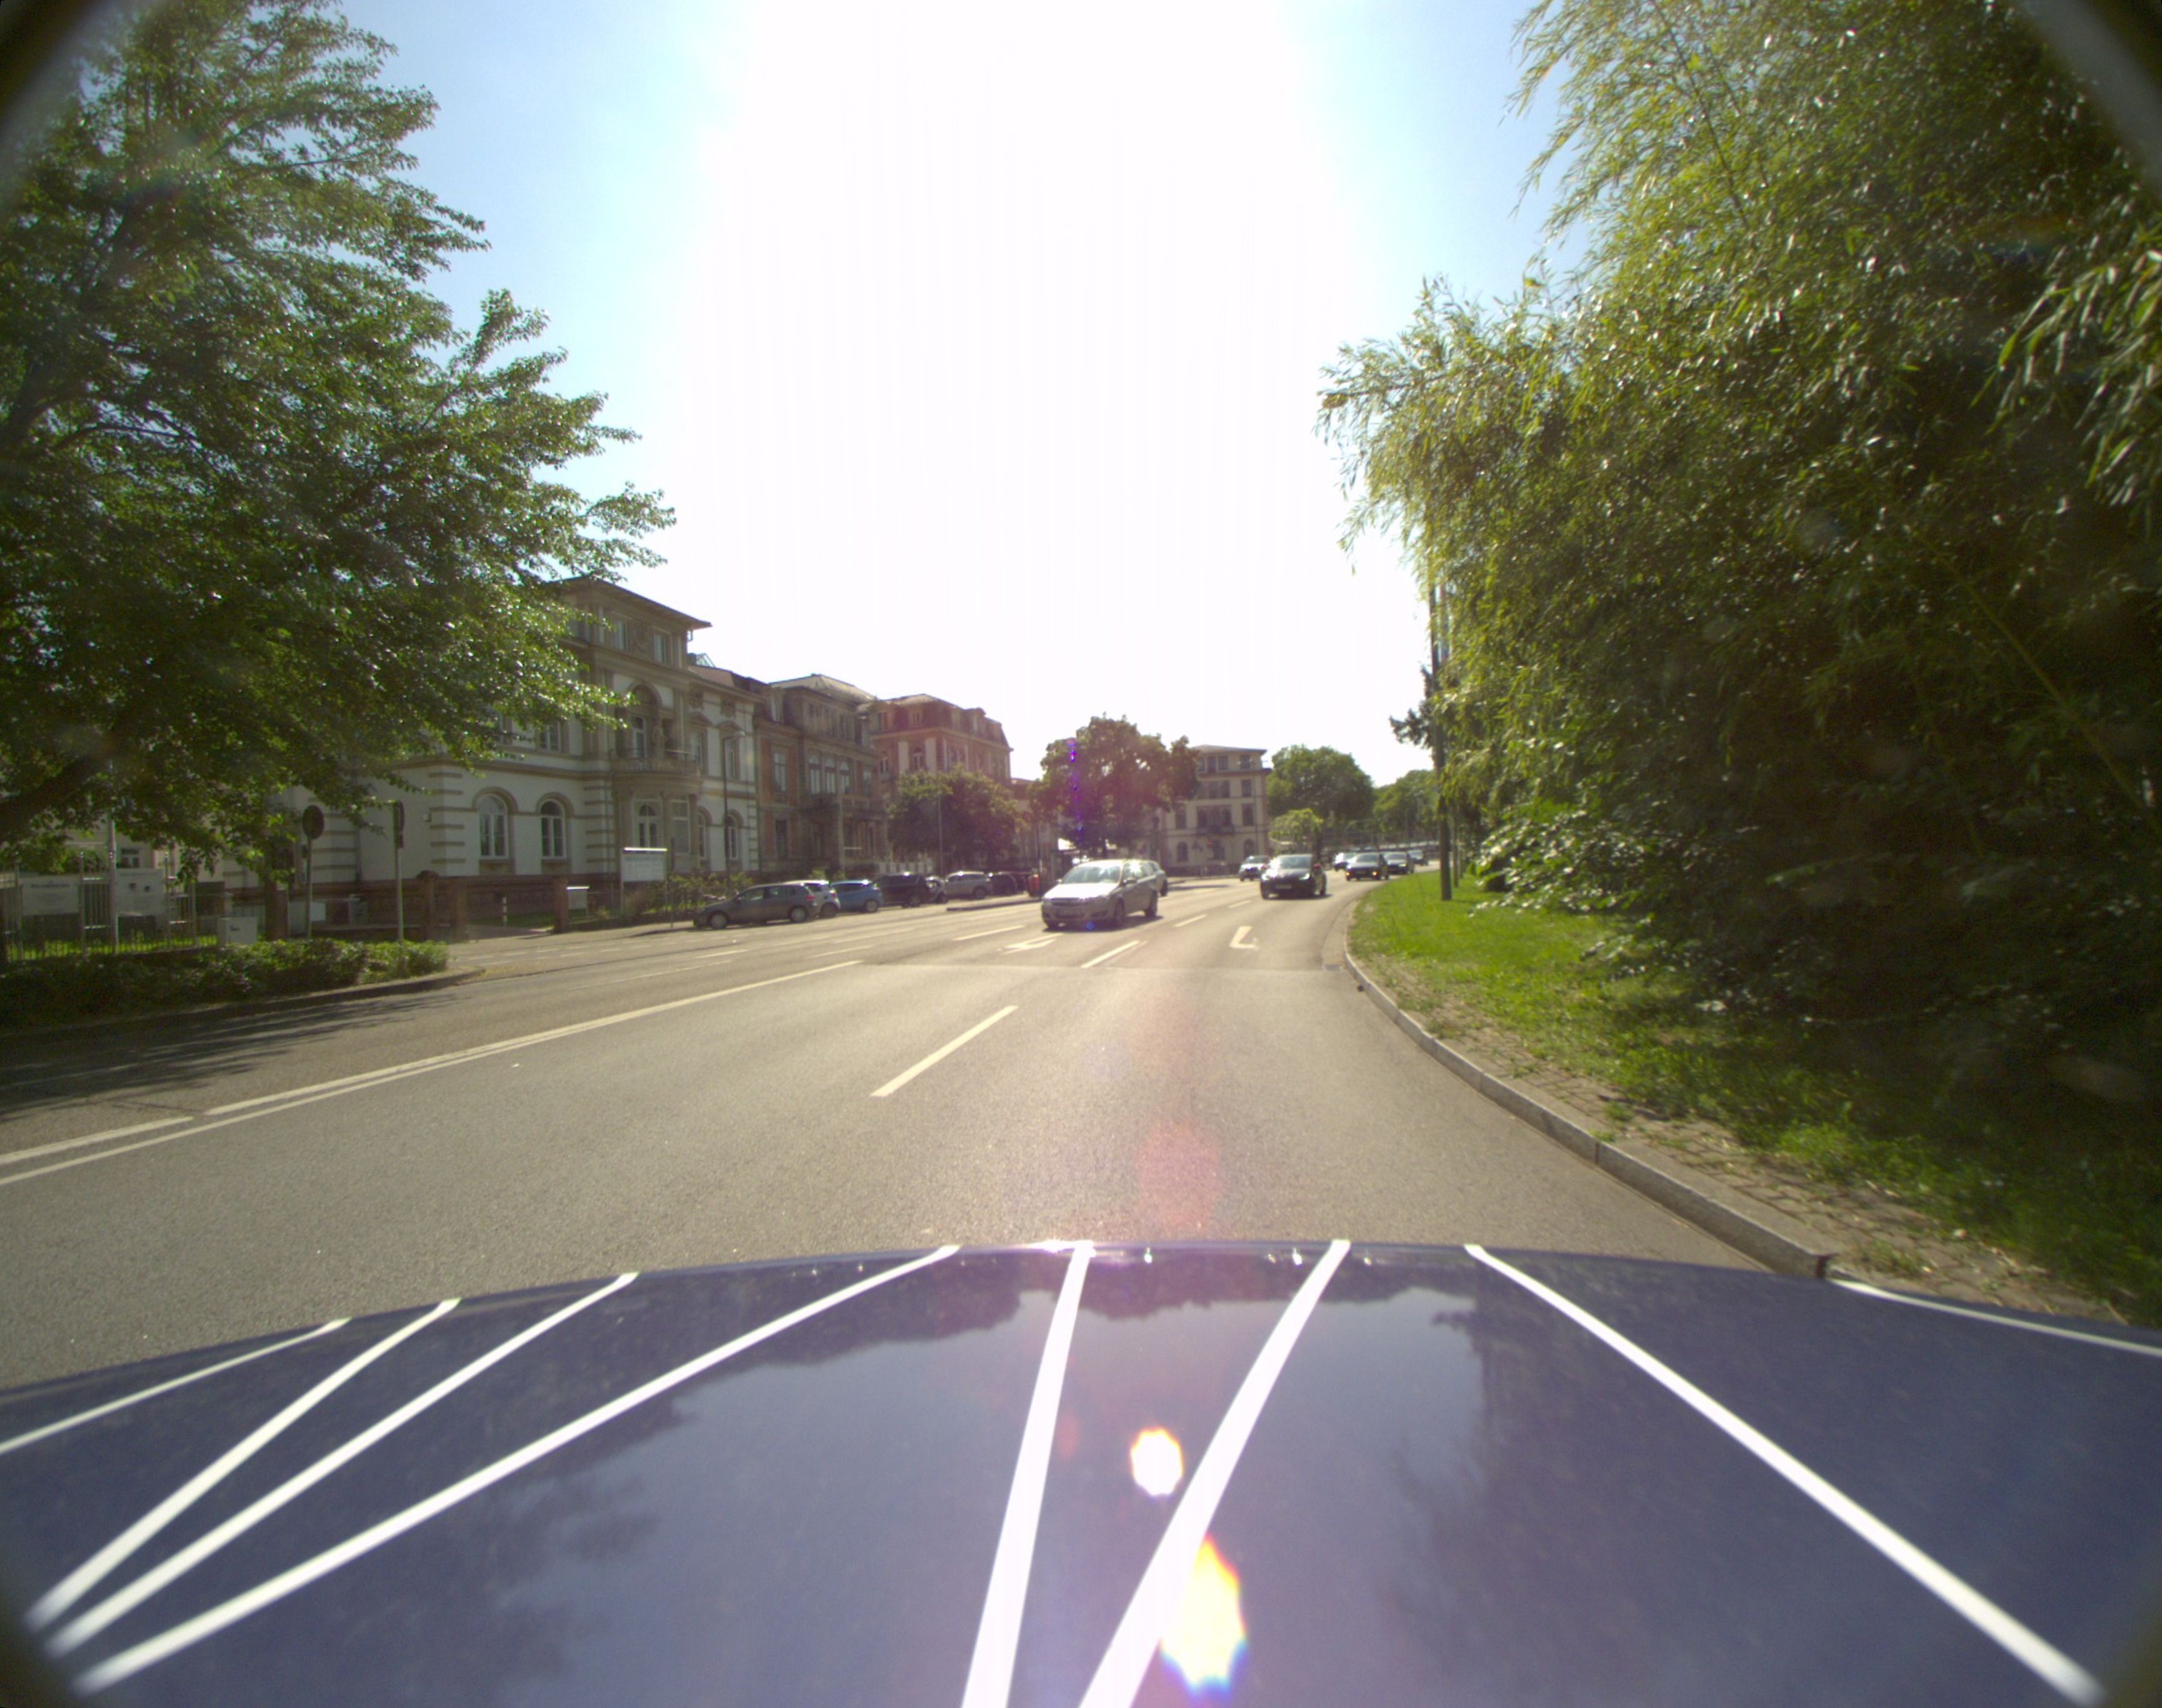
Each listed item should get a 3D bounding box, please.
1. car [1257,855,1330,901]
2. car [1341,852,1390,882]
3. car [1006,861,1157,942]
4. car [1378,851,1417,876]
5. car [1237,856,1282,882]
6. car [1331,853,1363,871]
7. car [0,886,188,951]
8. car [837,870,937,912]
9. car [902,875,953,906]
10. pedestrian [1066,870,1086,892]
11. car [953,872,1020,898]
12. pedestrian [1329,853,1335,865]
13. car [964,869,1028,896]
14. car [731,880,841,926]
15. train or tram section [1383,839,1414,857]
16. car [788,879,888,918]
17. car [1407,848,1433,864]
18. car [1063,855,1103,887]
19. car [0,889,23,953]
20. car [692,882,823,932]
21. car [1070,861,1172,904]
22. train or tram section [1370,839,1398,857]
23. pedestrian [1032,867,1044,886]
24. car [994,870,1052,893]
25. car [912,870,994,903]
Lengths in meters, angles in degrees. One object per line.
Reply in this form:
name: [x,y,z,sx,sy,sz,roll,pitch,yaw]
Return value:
car: [7.503,0.804,26.595,1.788,1.443,4.288,-2,0,24]
car: [15.248,0.644,40.627,1.787,1.484,4.096,-2,0,30]
car: [0.186,0.956,17.017,1.716,1.491,4.497,-2,0,23]
car: [20.525,0.596,49.232,1.787,1.461,4.096,-2,0,30]
car: [11.222,0.885,47.565,1.788,1.503,4.288,-2,0,27]
car: [23.130,0.660,66.096,1.787,1.451,4.096,-2,0,31]
car: [-23.678,1.512,18.010,4.045,1.328,1.994,-2,-1,21]
car: [-9.335,1.759,36.649,4.280,1.686,1.710,-2,-1,-30]
car: [-8.154,1.911,40.350,2.292,1.473,1.199,-2,-1,-33]
pedestrian: [-0.285,1.483,41.931,1.020,1.190,0.792,-3,-1,3]
car: [-5.938,1.911,47.588,3.824,1.408,1.603,-3,-1,-23]
pedestrian: [32.964,0.672,99.812,0.534,1.639,0.675,-3,0,7]
car: [-5.716,1.879,51.093,3.881,1.565,1.747,-3,-1,-23]
car: [-11.551,1.894,29.759,3.816,1.502,1.710,-3,-1,-27]
train or tram section: [63.018,-1.219,151.022,2.732,3.248,8.740,-3,-1,3]
car: [-10.498,1.895,32.865,3.817,1.433,1.710,-2,-1,-30]
car: [32.508,0.186,72.775,1.787,1.451,4.096,-2,0,30]
car: [0.229,1.417,65.373,1.996,2.587,5.324,-3,-1,14]
car: [-24.516,1.481,15.849,4.045,1.328,1.863,-2,-1,21]
car: [-11.527,1.845,27.234,4.111,1.452,1.825,-3,-1,-23]
car: [1.646,1.036,29.040,1.995,1.429,4.761,-2,-1,28]
train or tram section: [63.575,-1.214,159.792,2.732,3.248,8.740,-3,-1,3]
pedestrian: [-3.987,2.121,71.007,0.819,1.730,0.752,-3,-1,14]
car: [-4.164,1.935,54.173,3.704,1.409,1.746,-3,-1,-23]
car: [-7.362,1.837,43.796,4.321,1.620,1.710,-3,-1,-27]
